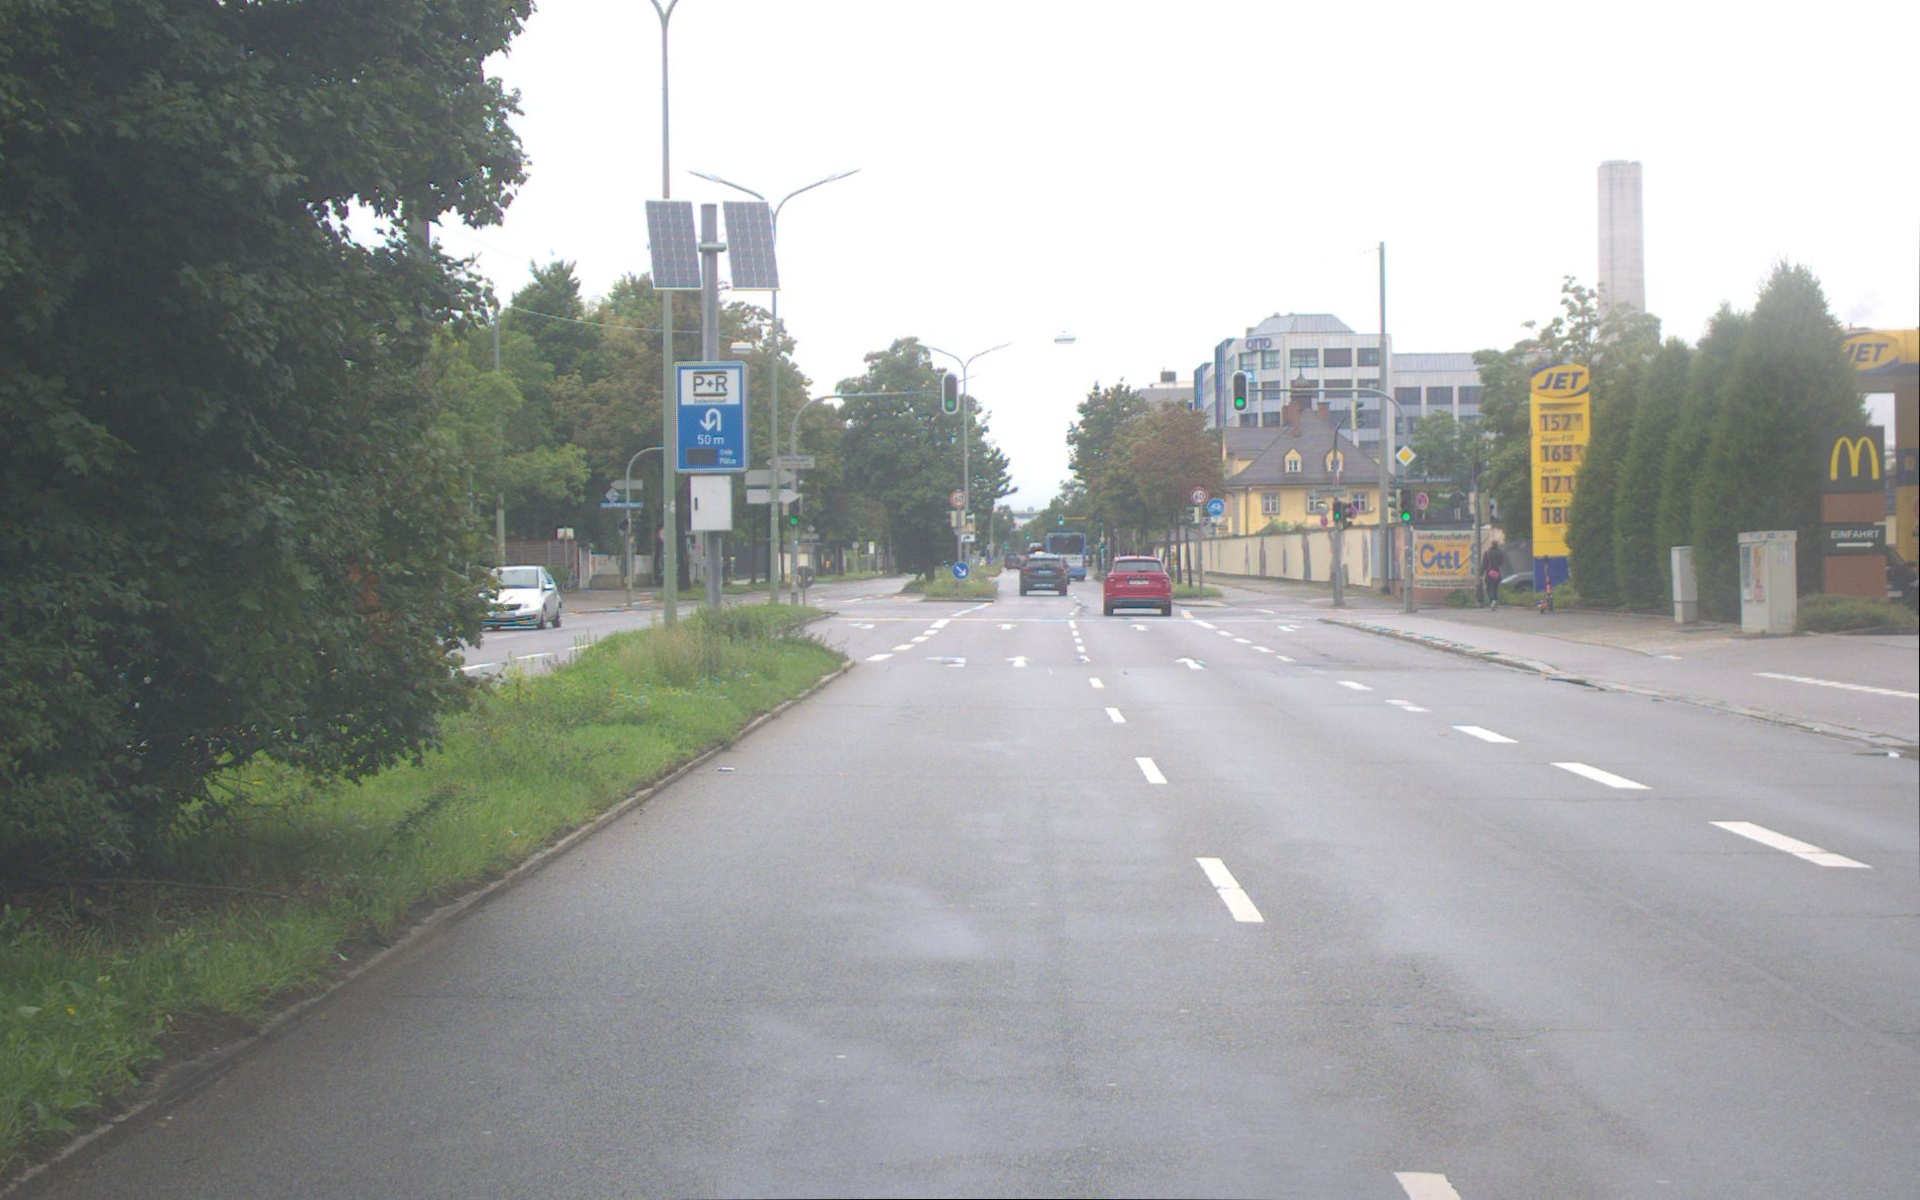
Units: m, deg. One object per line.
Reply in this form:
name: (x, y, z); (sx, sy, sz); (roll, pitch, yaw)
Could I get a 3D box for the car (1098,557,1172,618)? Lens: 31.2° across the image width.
car: (4.686, -0.337, 92.310); (1.862, 1.612, 4.000); (0, 0, 1)

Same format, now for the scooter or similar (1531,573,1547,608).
scooter or similar: (13.644, -0.219, 80.953); (0.175, 0.820, 0.778); (0, 1, 24)

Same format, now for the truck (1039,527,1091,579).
truck: (6.761, -3.023, 221.935); (2.969, 3.274, 7.916); (0, 1, -1)

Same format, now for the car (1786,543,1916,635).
car: (17.866, -0.239, 69.072); (1.754, 1.787, 4.000); (-1, 1, 3)

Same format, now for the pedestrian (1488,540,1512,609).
pedestrian: (12.831, -0.619, 81.695); (0.483, 1.630, 0.590); (-1, 1, 2)

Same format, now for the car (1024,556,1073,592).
car: (3.544, -1.057, 138.179); (1.803, 1.428, 4.000); (-1, 1, -1)
